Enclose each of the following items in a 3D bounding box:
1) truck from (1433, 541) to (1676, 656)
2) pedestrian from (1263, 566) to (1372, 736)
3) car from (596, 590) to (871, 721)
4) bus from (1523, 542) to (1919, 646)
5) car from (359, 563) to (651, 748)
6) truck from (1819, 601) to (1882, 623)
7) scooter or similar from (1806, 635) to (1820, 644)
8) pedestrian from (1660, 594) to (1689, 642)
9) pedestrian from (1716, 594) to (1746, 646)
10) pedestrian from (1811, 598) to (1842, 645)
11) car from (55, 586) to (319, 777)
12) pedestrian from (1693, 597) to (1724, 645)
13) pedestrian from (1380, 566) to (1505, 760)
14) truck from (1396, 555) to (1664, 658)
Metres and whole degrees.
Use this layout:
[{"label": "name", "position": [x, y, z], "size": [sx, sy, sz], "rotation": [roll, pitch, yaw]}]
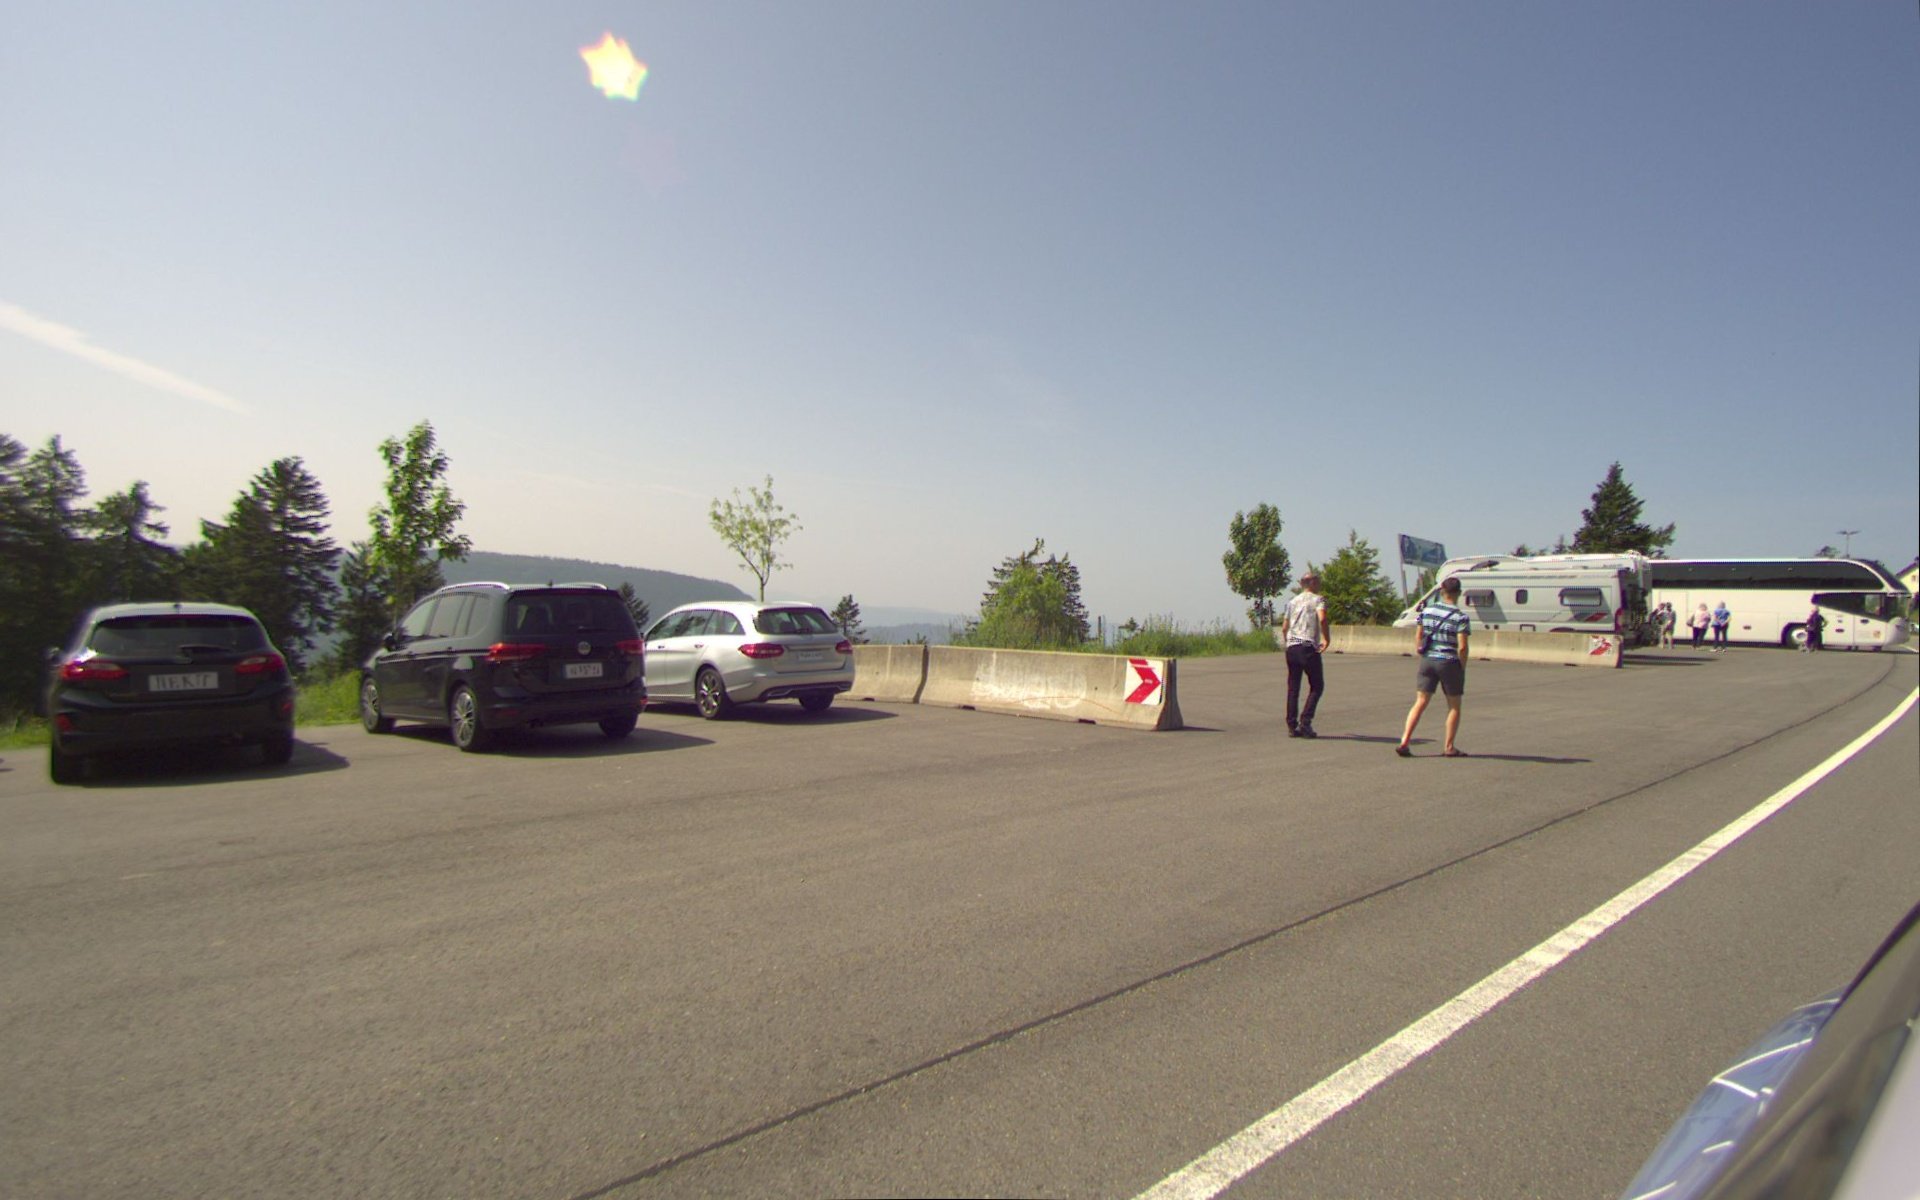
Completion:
[{"label": "truck", "position": [18.332, -0.120, 31.484], "size": [6.066, 3.236, 2.491], "rotation": [2, 1, 45]}, {"label": "pedestrian", "position": [3.882, 0.532, 11.004], "size": [0.876, 1.763, 0.668], "rotation": [1, 0, -29]}, {"label": "car", "position": [-3.137, 0.673, 13.548], "size": [3.987, 1.495, 1.745], "rotation": [-2, -2, 45]}, {"label": "bus", "position": [30.206, -0.373, 40.825], "size": [2.790, 3.622, 12.866], "rotation": [1, 1, -42]}, {"label": "car", "position": [-5.103, 0.539, 11.083], "size": [3.986, 1.668, 1.575], "rotation": [-2, -1, 44]}, {"label": "truck", "position": [124.434, 1.712, 141.360], "size": [8.576, 2.865, 2.876], "rotation": [1, 1, -21]}, {"label": "scooter or similar", "position": [30.529, 1.424, 36.221], "size": [0.321, 0.315, 0.285], "rotation": [1, 1, -35]}, {"label": "pedestrian", "position": [26.136, 0.639, 37.006], "size": [0.615, 1.719, 0.633], "rotation": [1, 0, -30]}, {"label": "pedestrian", "position": [26.886, 0.682, 35.301], "size": [0.615, 1.780, 0.633], "rotation": [1, 0, -30]}, {"label": "pedestrian", "position": [30.351, 0.748, 35.468], "size": [0.615, 1.586, 0.633], "rotation": [1, 0, -30]}, {"label": "car", "position": [-7.606, 0.683, 9.832], "size": [1.733, 1.455, 4.001], "rotation": [0, -2, -42]}, {"label": "pedestrian", "position": [26.656, 0.752, 36.051], "size": [0.615, 1.671, 0.633], "rotation": [1, 0, -20]}, {"label": "pedestrian", "position": [4.663, 0.577, 9.798], "size": [0.760, 1.782, 0.757], "rotation": [1, 0, -29]}, {"label": "truck", "position": [16.141, 0.102, 29.025], "size": [2.300, 2.623, 6.269], "rotation": [1, 1, -43]}]
